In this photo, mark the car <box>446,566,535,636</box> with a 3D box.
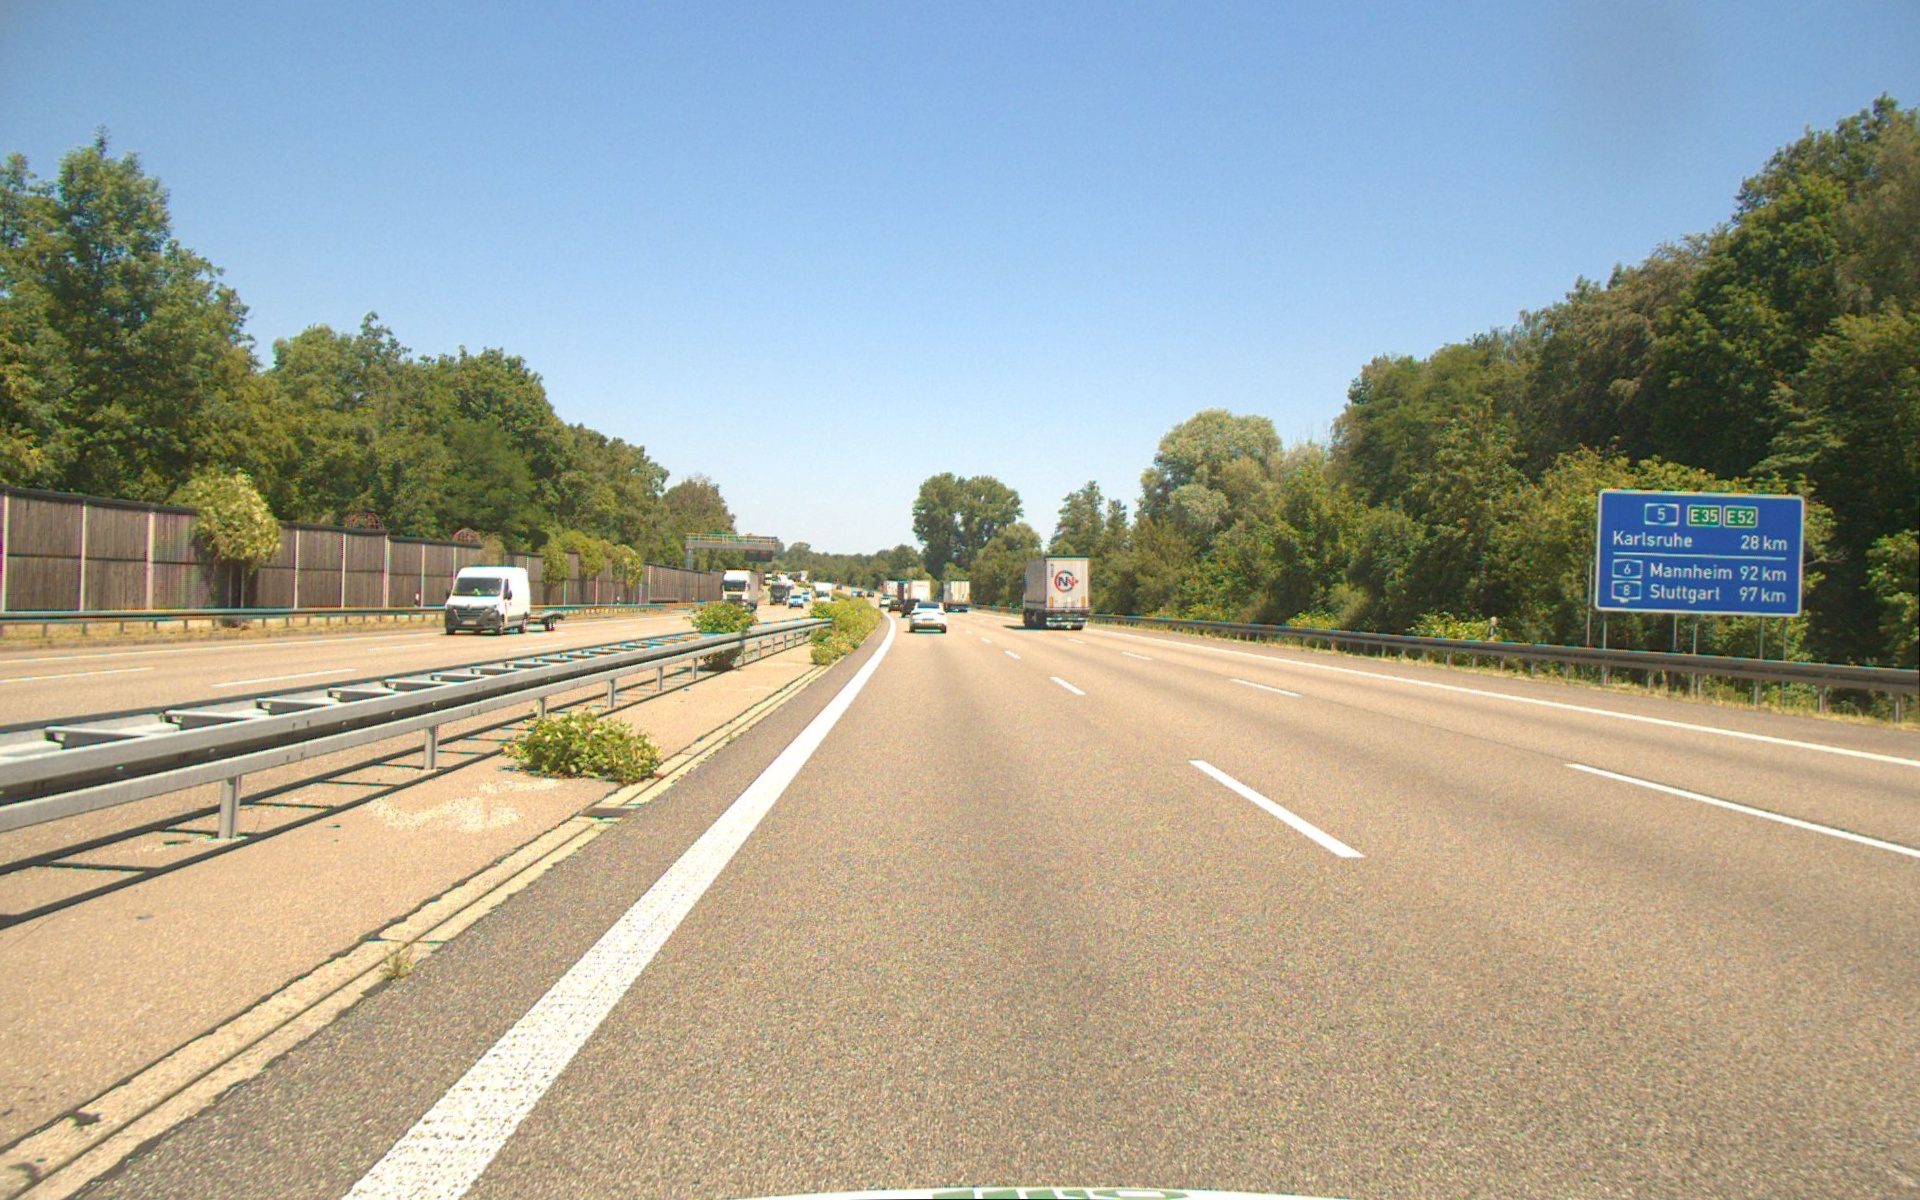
[{"bbox_3d":[-17.441,0.028,61.704,1.983,2.473,5.410,1,0,-2],"label":"car"}]

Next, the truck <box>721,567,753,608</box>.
[{"bbox_3d":[-22.029,-1.183,163.684,2.633,3.963,5.570,1,0,-3],"label":"truck"}]

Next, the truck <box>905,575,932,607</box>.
[{"bbox_3d":[-5.785,-1.217,230.306,3.293,4.386,10.821,1,0,-3],"label":"truck"}]

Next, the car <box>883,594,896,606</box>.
[{"bbox_3d":[-10.737,-0.048,250.963,1.690,1.814,3.995,1,0,-6],"label":"car"}]

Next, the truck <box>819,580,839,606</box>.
[{"bbox_3d":[-16.465,-0.919,207.933,2.149,3.169,8.529,1,0,-2],"label":"truck"}]

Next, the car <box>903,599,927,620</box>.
[{"bbox_3d":[-4.166,0.880,151.657,1.955,1.803,3.996,1,0,-5],"label":"car"}]

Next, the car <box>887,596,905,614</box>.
[{"bbox_3d":[-7.680,0.581,198.029,1.955,2.049,3.995,1,0,-6],"label":"car"}]

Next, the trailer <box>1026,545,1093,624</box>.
[{"bbox_3d":[5.813,-0.860,99.084,2.571,4.335,14.054,1,0,-2],"label":"trailer"}]

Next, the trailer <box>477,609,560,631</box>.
[{"bbox_3d":[-17.939,0.799,67.526,2.119,0.821,6.276,1,0,-4],"label":"trailer"}]

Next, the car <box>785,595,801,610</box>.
[{"bbox_3d":[-21.543,0.360,213.786,1.830,1.852,4.814,1,0,-3],"label":"car"}]

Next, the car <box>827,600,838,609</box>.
[{"bbox_3d":[-19.404,0.712,251.969,1.593,1.414,3.911,1,0,-4],"label":"car"}]

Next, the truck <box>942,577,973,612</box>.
[{"bbox_3d":[-0.340,-0.704,213.020,3.422,4.386,10.982,1,0,-3],"label":"truck"}]

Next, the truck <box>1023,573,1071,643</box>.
[{"bbox_3d":[5.534,0.487,105.763,2.553,4.362,5.433,1,0,-2],"label":"truck"}]

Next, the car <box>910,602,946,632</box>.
[{"bbox_3d":[-1.551,0.812,80.605,1.680,1.393,3.374,1,0,-1],"label":"car"}]
